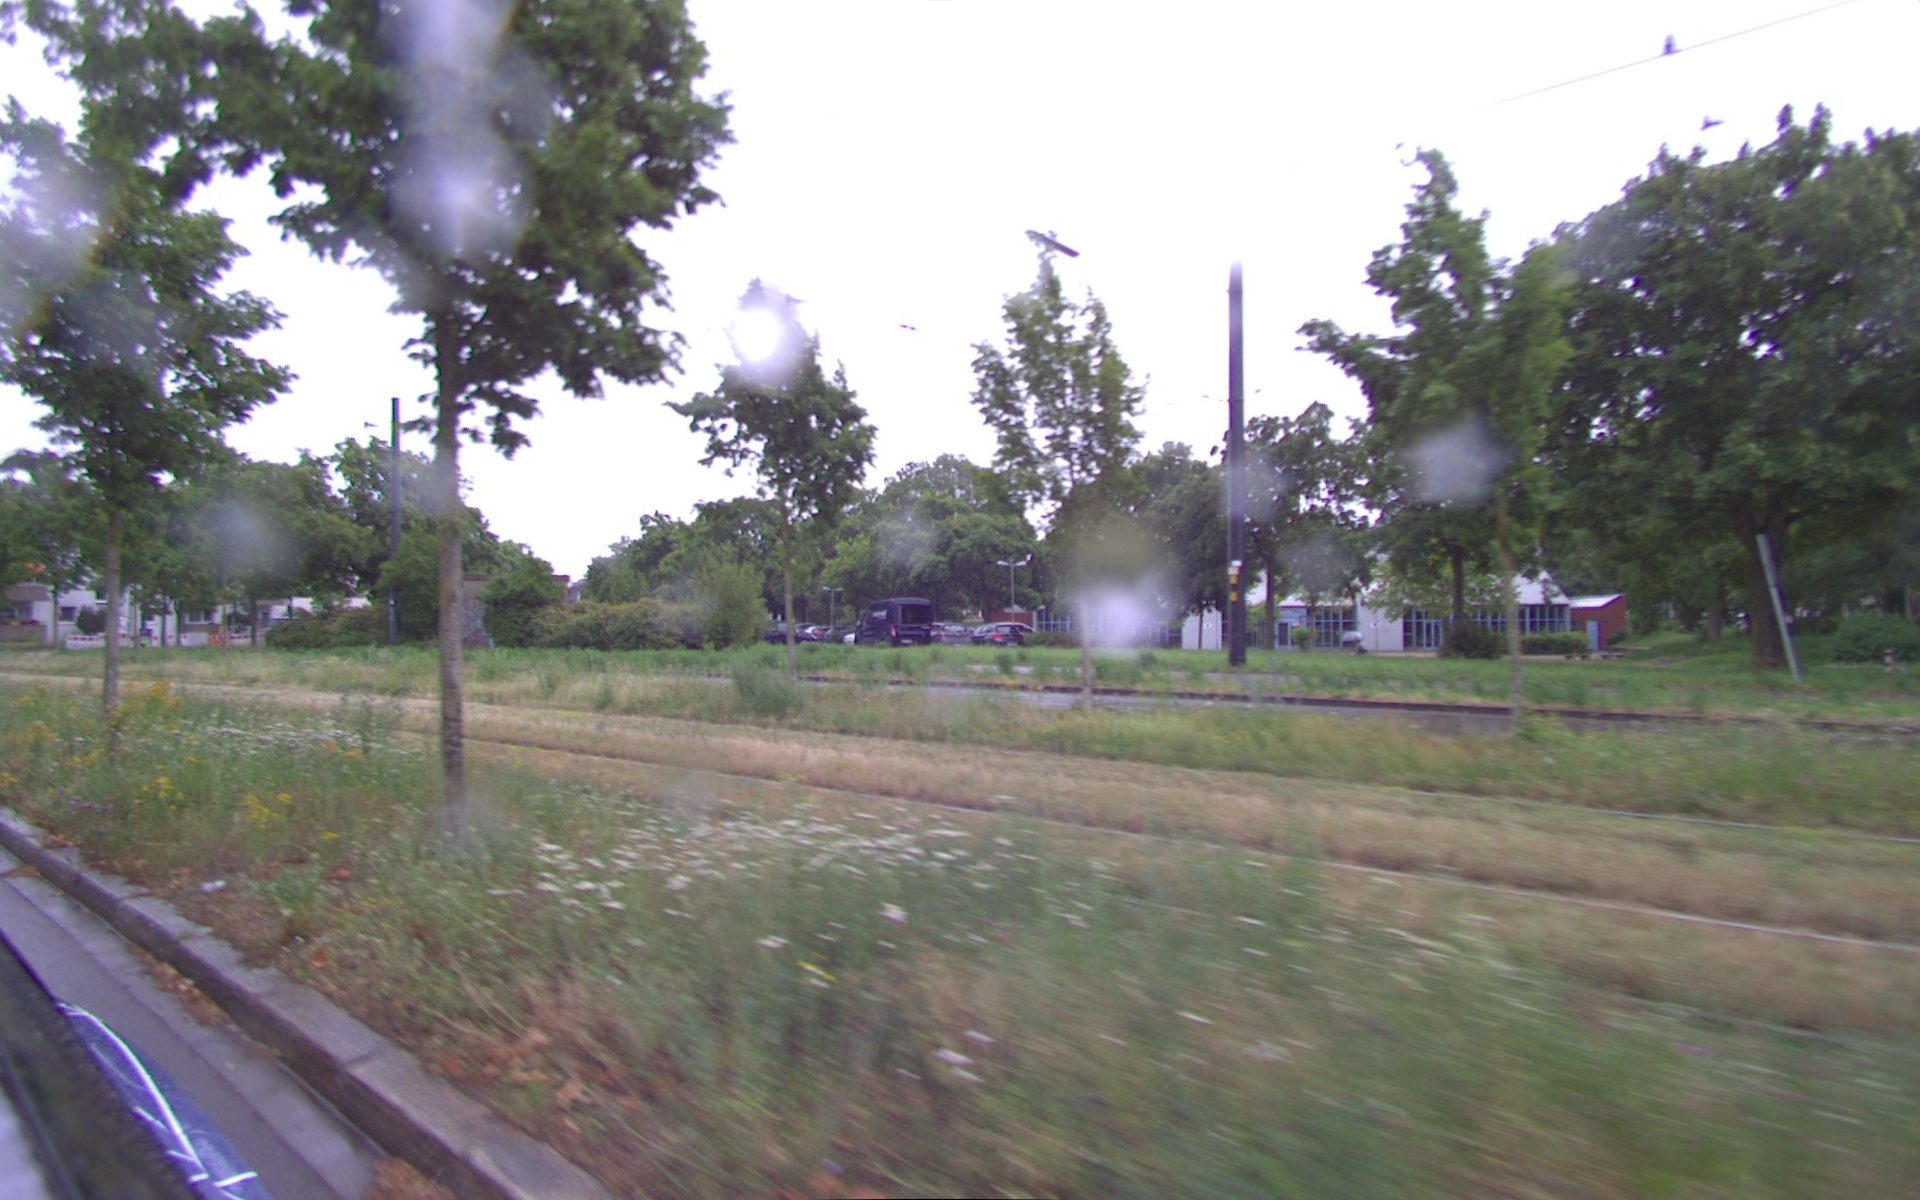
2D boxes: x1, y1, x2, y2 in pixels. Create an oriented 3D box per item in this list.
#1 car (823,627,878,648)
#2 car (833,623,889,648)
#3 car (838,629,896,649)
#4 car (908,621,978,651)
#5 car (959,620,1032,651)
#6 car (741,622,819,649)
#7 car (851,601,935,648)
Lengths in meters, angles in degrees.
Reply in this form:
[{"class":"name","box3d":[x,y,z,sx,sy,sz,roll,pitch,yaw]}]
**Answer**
[{"class":"car","box3d":[-8.634,2.952,79.991,3.992,1.586,1.696,0,-2,-29]},{"class":"car","box3d":[-7.607,2.719,77.884,3.992,1.836,1.696,0,-2,-29]},{"class":"car","box3d":[-6.917,2.893,75.279,3.992,1.445,1.696,0,-2,-29]},{"class":"car","box3d":[-0.832,1.665,46.869,1.805,1.349,4.111,1,-2,-24]},{"class":"car","box3d":[1.625,1.672,47.549,1.805,1.349,4.111,1,-2,-24]},{"class":"car","box3d":[-9.949,1.924,55.804,3.991,1.445,1.696,0,-2,-20]},{"class":"car","box3d":[-3.057,1.122,45.184,2.002,1.962,4.730,1,-2,-27]}]
